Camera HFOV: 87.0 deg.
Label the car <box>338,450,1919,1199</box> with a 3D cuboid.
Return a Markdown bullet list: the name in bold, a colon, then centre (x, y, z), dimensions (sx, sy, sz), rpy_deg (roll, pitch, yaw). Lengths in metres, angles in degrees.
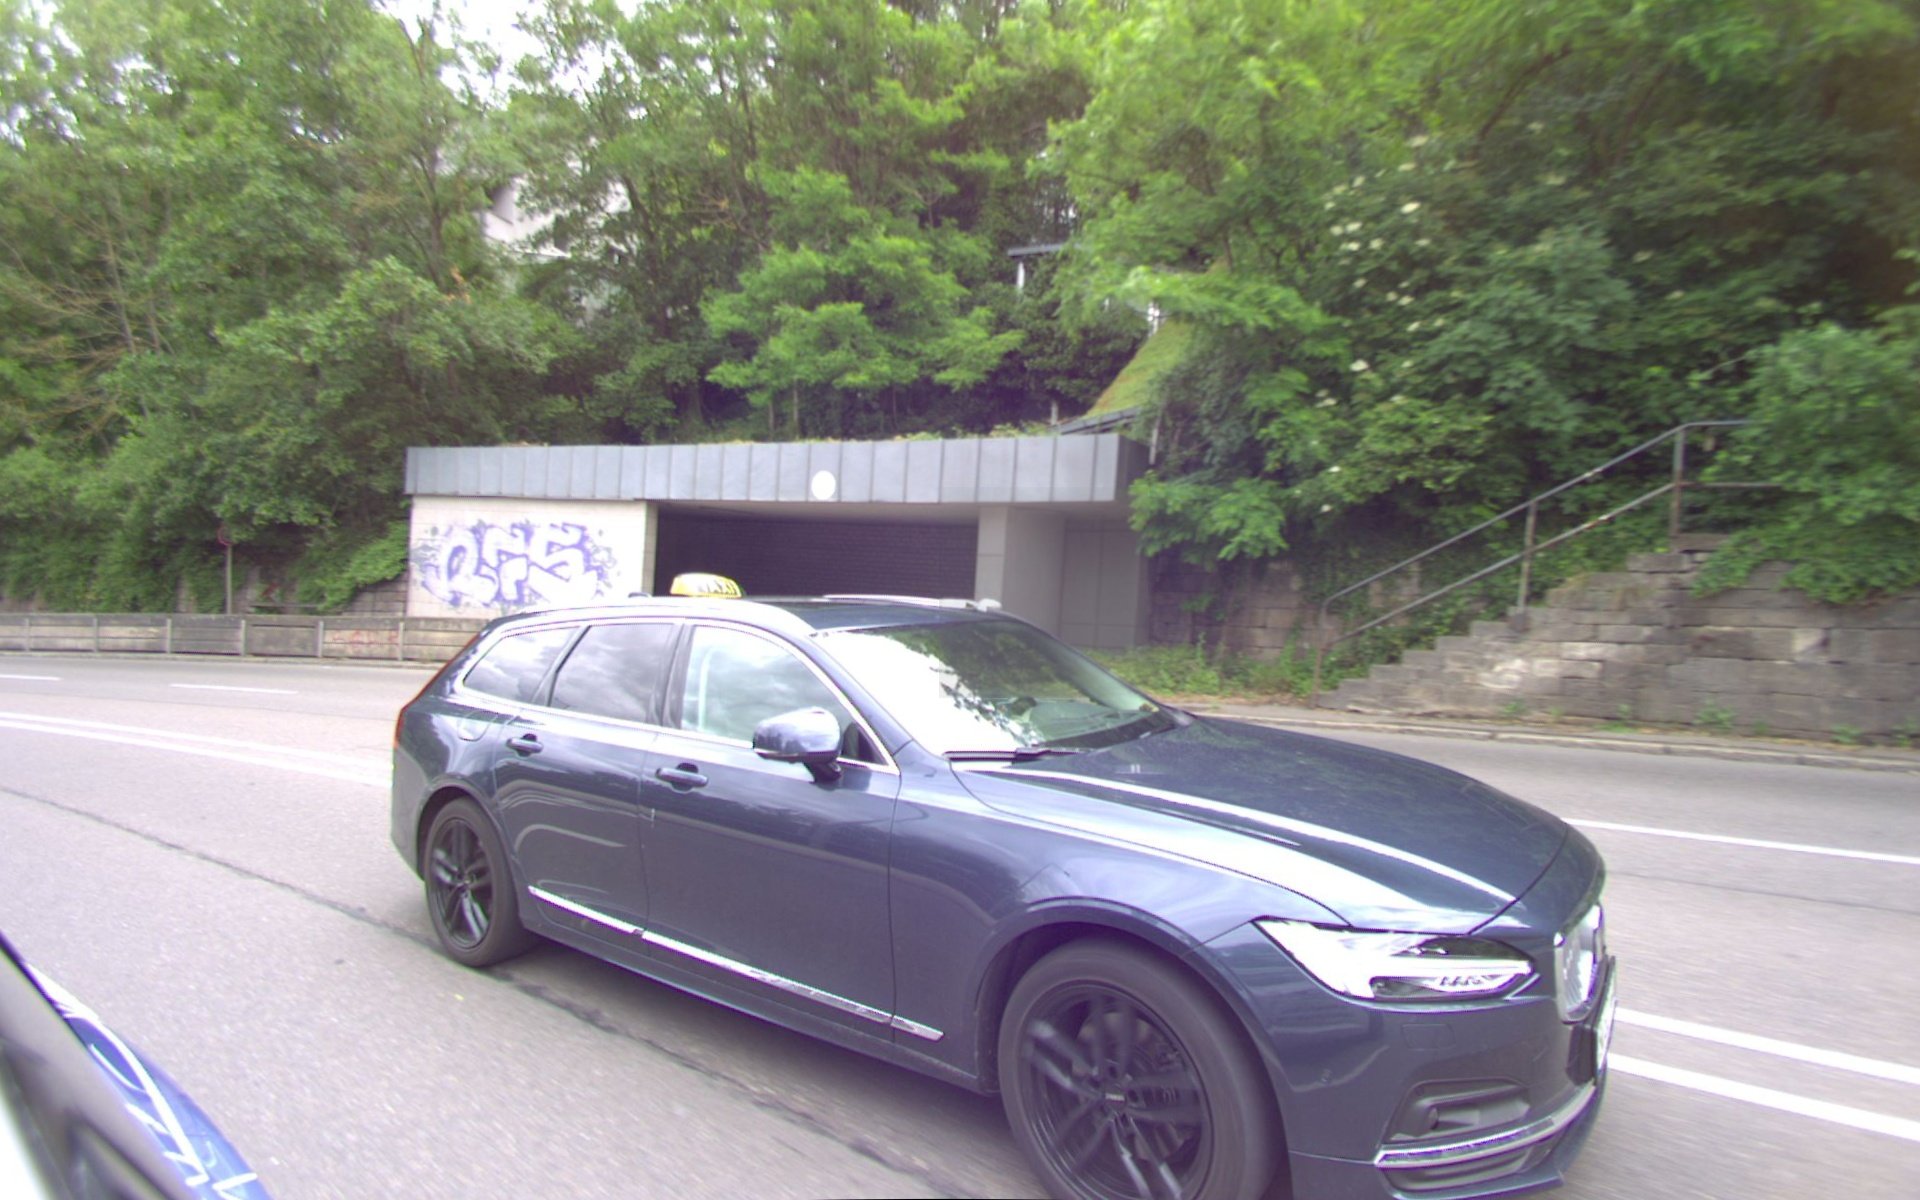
- **car**: centre (-0.120, 0.540, 3.598), dimensions (5.020, 1.588, 1.917), rpy_deg (1, 2, 38)
